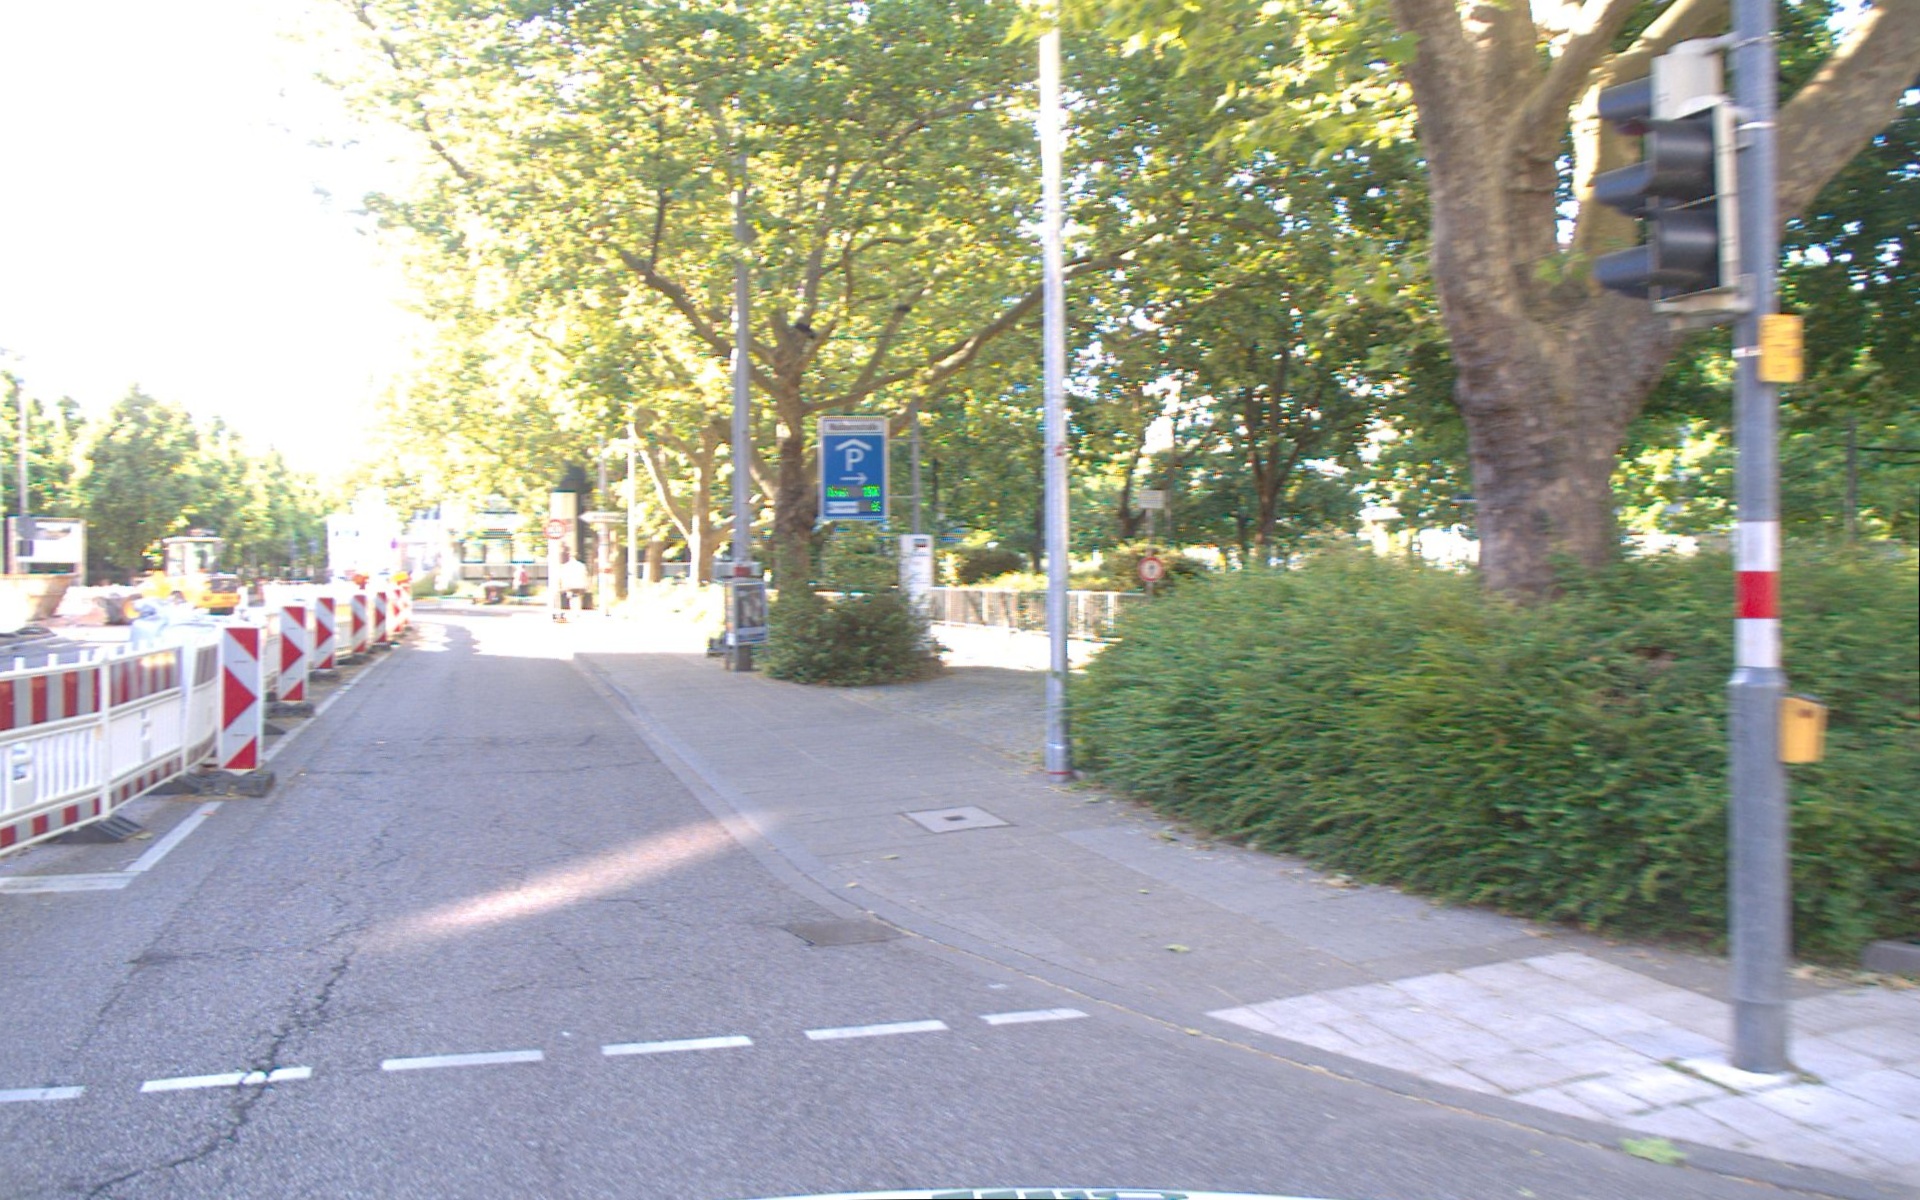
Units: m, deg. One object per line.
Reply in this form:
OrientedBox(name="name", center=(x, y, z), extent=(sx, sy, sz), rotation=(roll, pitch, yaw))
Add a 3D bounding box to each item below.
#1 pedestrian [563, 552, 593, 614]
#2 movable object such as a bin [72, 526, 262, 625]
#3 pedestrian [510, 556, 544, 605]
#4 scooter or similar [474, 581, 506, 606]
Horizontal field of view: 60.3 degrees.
OrientedBox(name="pedestrian", center=(-11.528, -0.524, 49.929), extent=(0.734, 1.844, 1.127), rotation=(-1, 2, -21))
OrientedBox(name="movable object such as a bin", center=(-26.007, -0.784, 54.203), extent=(5.797, 3.084, 2.565), rotation=(-1, 2, 27))
OrientedBox(name="pedestrian", center=(-14.922, -0.677, 56.977), extent=(0.922, 1.651, 0.706), rotation=(-1, 0, 42))
OrientedBox(name="scooter or similar", center=(-18.536, -0.243, 65.290), extent=(1.132, 0.929, 0.416), rotation=(-3, 1, -25))
